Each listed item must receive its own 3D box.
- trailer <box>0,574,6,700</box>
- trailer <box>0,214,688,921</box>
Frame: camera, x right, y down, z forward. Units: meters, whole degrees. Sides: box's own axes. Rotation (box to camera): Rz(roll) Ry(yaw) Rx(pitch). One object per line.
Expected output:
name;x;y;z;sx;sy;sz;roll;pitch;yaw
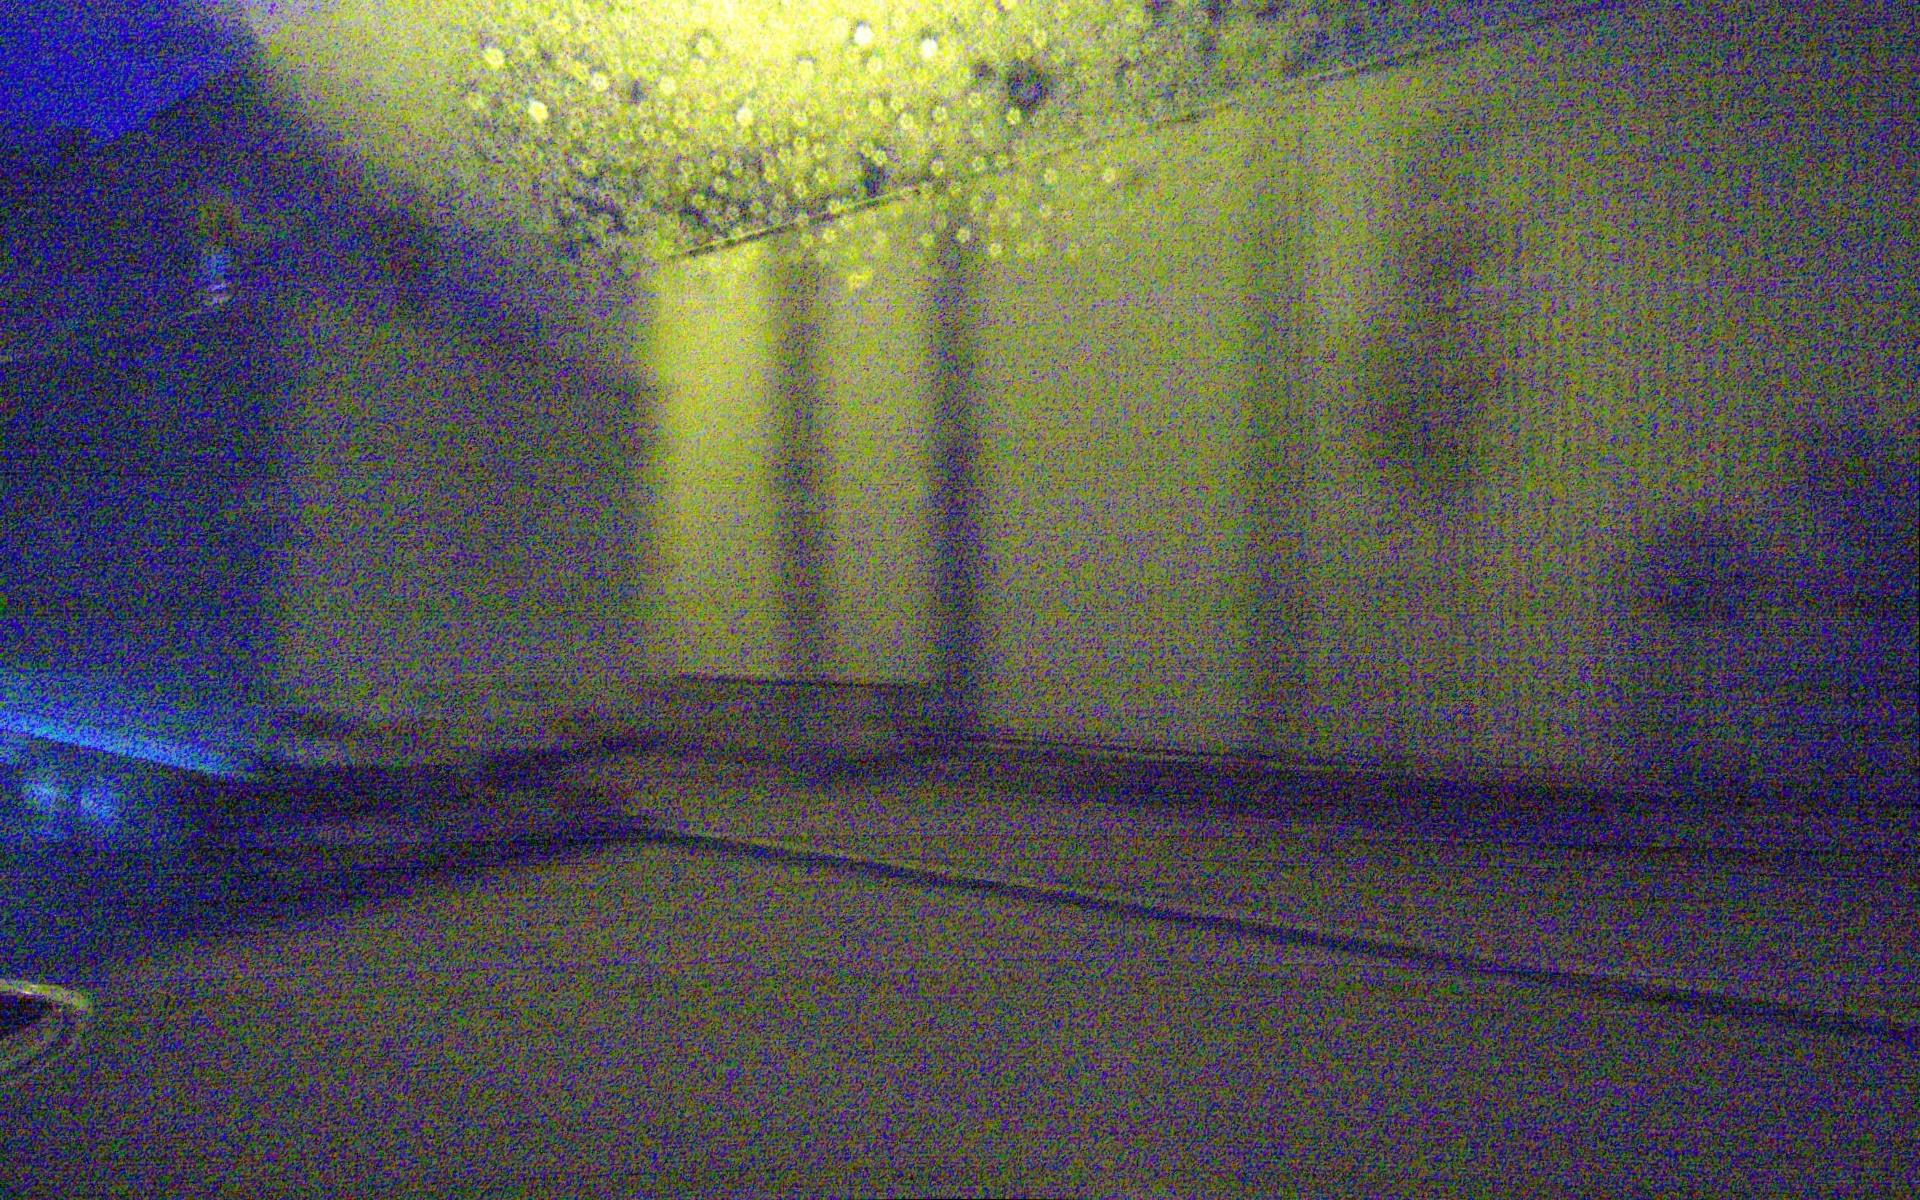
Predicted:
trailer;-19.676;0.260;16.501;10.562;2.785;3.177;-2;0;32
trailer;-5.982;-0.058;8.058;7.692;3.509;2.684;-1;-1;30
